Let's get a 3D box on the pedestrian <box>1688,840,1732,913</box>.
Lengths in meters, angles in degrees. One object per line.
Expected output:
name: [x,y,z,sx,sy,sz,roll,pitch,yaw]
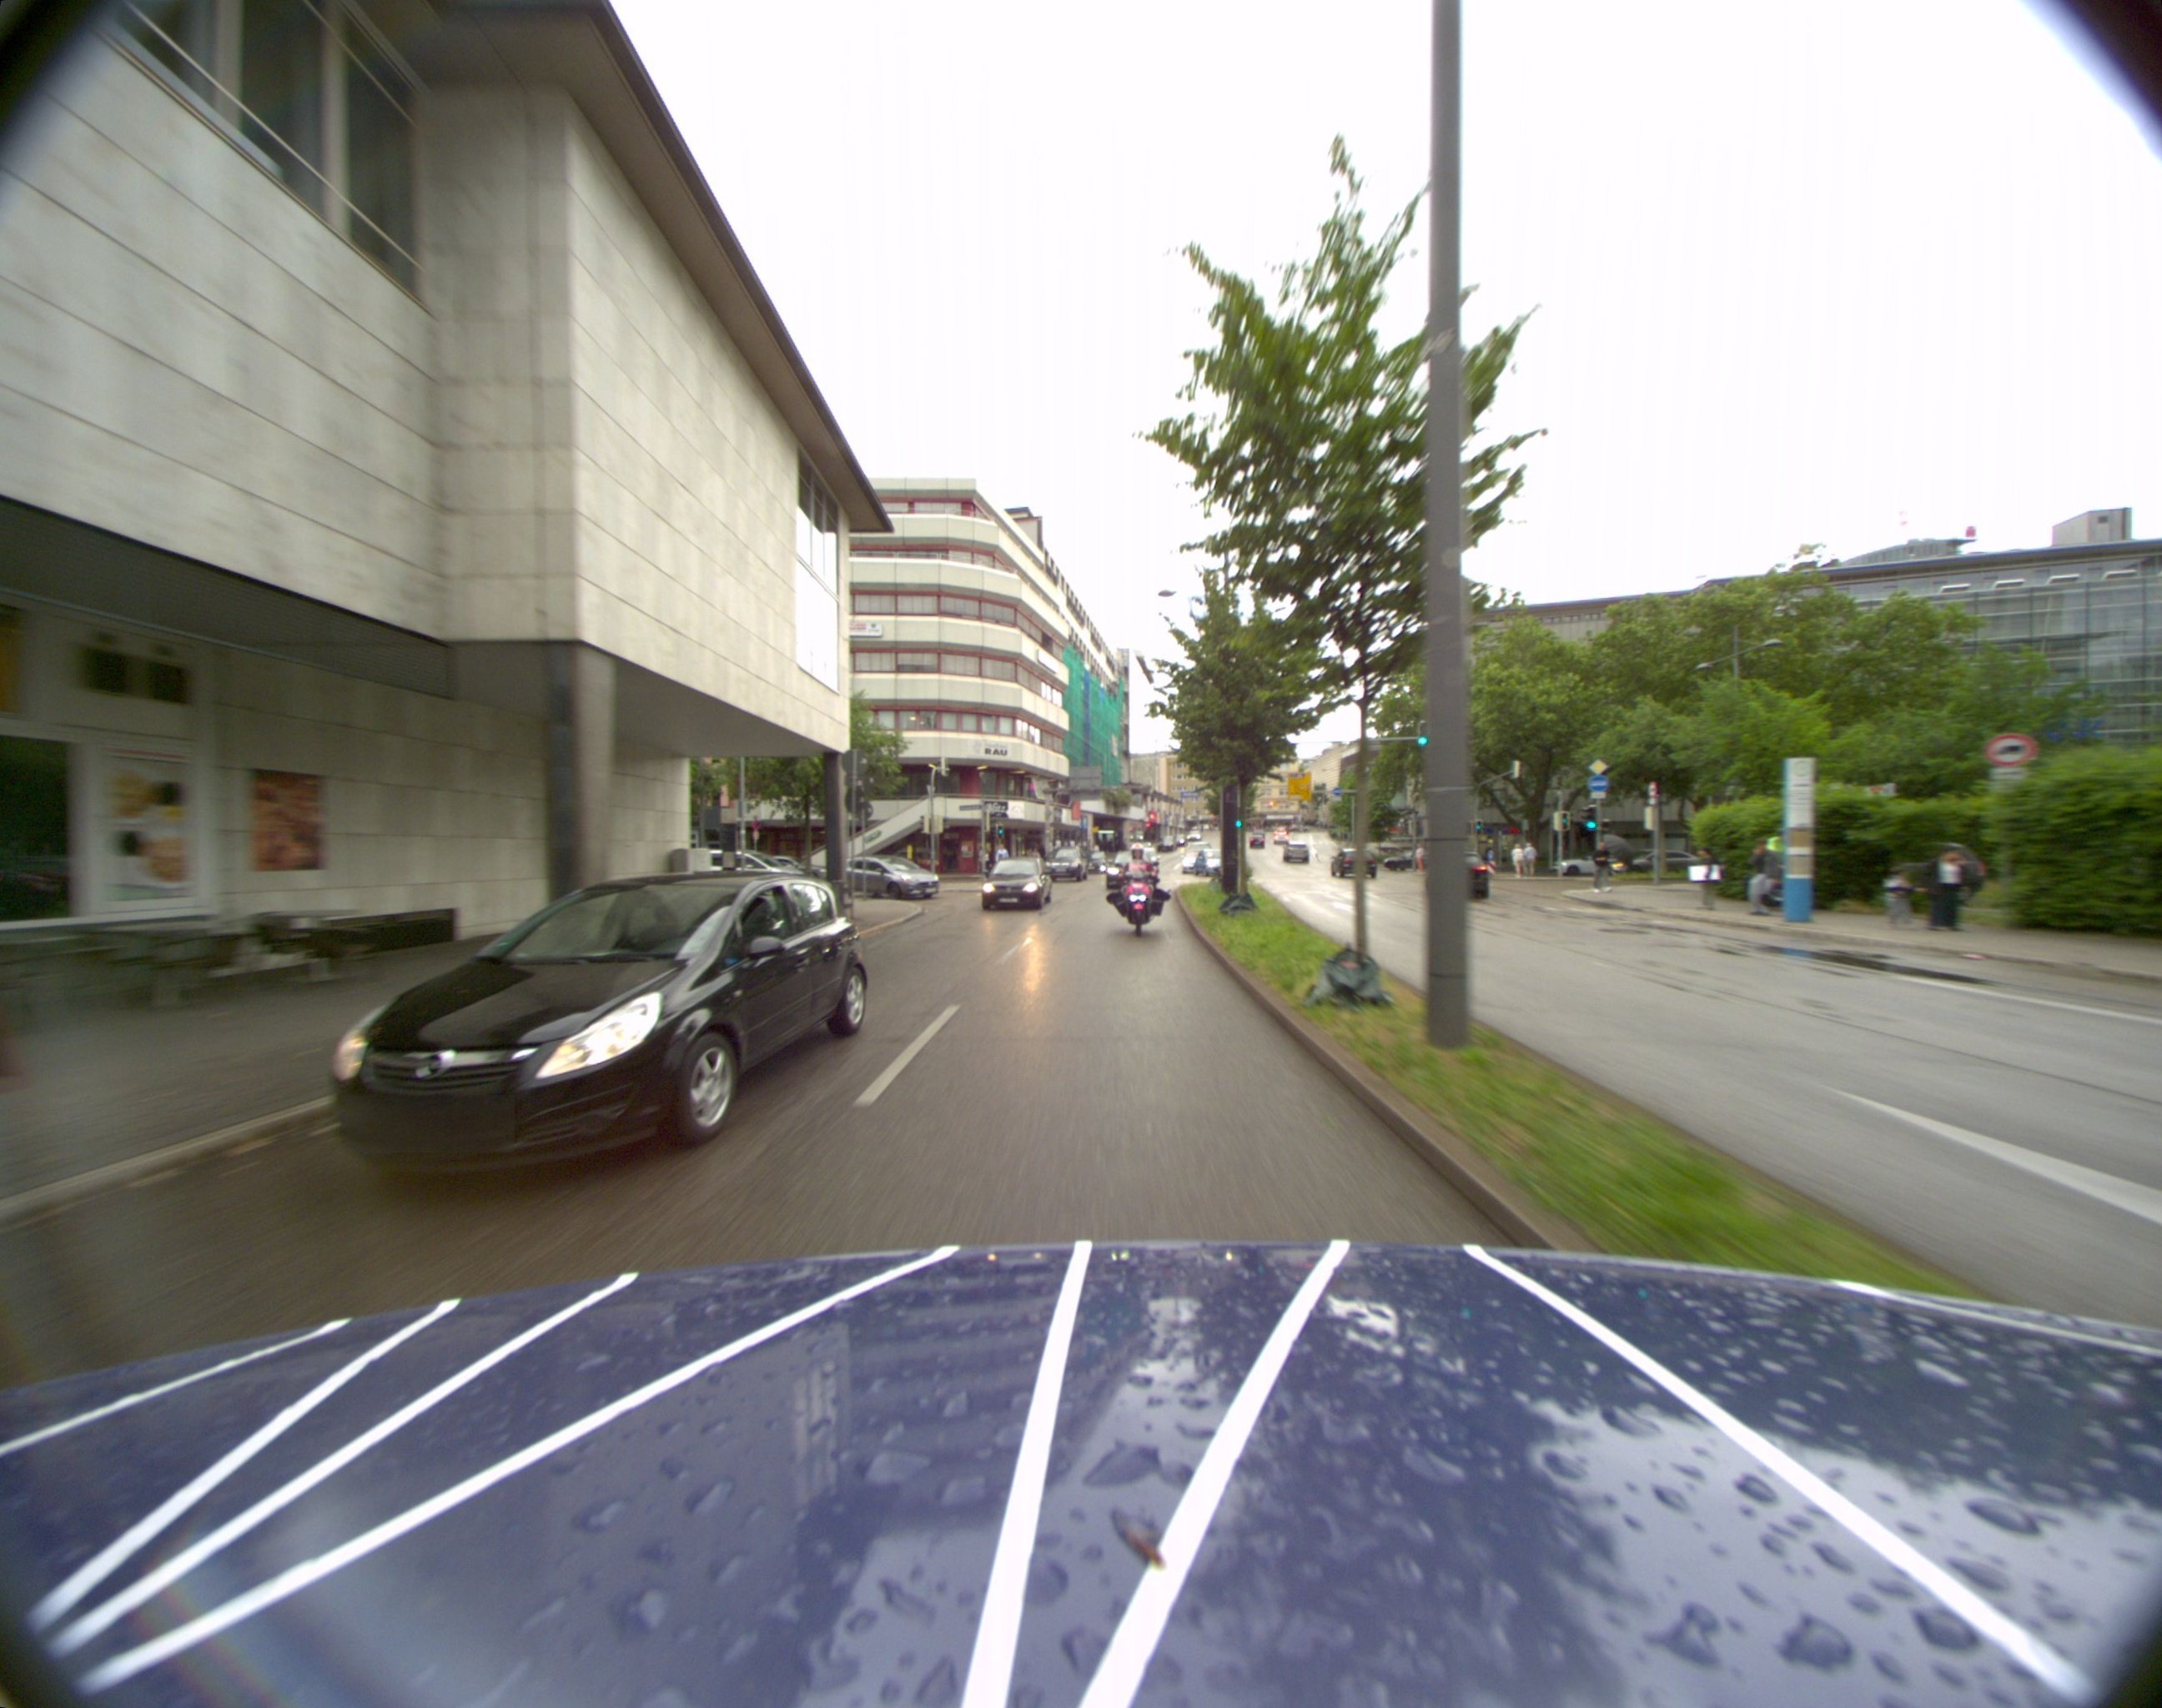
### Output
pedestrian: [15.474,0.543,18.699,0.630,1.754,0.528,0,1,-1]

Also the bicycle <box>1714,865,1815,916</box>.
bicycle: [16.339,0.839,18.240,0.652,1.104,2.058,0,1,3]

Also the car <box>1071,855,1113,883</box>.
car: [0.760,0.912,48.364,1.680,1.422,3.779,-1,3,16]

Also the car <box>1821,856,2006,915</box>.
car: [23.737,0.839,21.867,1.598,1.530,3.602,0,0,6]

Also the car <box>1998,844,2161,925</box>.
car: [22.285,0.603,15.785,1.600,1.615,3.833,0,0,-8]

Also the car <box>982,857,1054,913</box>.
car: [-1.730,0.822,21.890,1.595,1.432,3.628,-1,0,2]

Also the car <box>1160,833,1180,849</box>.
car: [10.286,-1.517,87.637,1.830,1.727,4.001,1,4,13]

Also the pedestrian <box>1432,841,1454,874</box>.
pedestrian: [21.528,0.199,45.173,0.861,1.896,0.826,-2,2,-12]

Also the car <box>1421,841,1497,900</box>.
car: [12.471,0.473,25.309,1.829,1.726,4.265,2,1,21]

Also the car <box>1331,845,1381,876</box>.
car: [14.071,0.275,39.138,1.760,1.412,4.099,2,2,11]

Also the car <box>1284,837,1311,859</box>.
car: [18.135,-0.559,63.752,1.830,1.726,4.313,0,2,11]

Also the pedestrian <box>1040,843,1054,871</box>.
pedestrian: [-2.300,0.211,52.150,0.759,1.891,0.790,0,3,12]

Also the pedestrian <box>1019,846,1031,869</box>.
pedestrian: [-4.138,0.260,56.128,0.575,1.654,0.941,2,2,14]

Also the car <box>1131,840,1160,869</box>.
car: [4.063,0.046,47.265,1.631,1.731,3.602,1,0,7]

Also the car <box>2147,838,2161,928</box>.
car: [18.653,0.511,10.963,1.598,1.502,3.601,0,1,6]

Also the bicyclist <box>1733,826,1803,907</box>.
bicyclist: [16.327,0.286,18.089,0.793,1.879,0.954,0,1,2]

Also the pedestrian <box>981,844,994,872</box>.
pedestrian: [-5.984,0.243,48.686,0.596,1.754,0.493,-1,3,12]

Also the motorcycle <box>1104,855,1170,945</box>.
motorcycle: [1.121,0.791,14.484,0.831,1.479,2.867,-1,1,12]

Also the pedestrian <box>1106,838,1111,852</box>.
pedestrian: [3.171,-1.039,86.867,0.429,1.481,0.523,-1,4,-9]

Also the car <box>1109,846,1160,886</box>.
car: [2.212,0.456,31.276,1.937,1.511,4.470,-1,0,4]

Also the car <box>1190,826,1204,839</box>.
car: [17.365,-3.251,113.884,1.830,1.727,4.001,1,4,13]

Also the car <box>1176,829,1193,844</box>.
car: [13.402,-2.265,98.311,1.830,1.727,4.001,1,4,13]

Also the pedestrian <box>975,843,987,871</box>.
pedestrian: [-6.355,0.173,48.360,0.528,1.754,0.510,-3,4,-31]

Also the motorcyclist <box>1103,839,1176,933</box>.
motorcyclist: [1.153,0.590,14.705,1.295,1.757,0.846,0,1,12]

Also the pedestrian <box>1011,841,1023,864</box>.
pedestrian: [-4.722,-0.100,56.291,0.589,1.696,0.972,2,2,14]

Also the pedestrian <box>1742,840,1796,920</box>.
pedestrian: [15.384,0.559,17.003,0.592,1.754,0.643,-1,1,-5]

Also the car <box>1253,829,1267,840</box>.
car: [25.649,-2.799,109.000,1.716,1.471,3.959,2,3,11]

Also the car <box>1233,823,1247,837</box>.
car: [22.088,-3.376,105.403,1.830,1.727,4.001,1,4,13]

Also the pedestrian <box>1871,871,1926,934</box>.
pedestrian: [15.159,0.894,14.103,0.470,1.144,0.501,0,1,3]

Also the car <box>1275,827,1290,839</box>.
car: [26.154,-2.779,98.722,1.674,1.507,3.645,1,2,12]

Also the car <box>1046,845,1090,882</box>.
car: [-0.590,0.403,37.356,1.735,1.669,4.249,-2,1,4]

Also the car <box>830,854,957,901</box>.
car: [-6.553,0.780,26.481,3.989,1.468,2.003,-1,2,31]

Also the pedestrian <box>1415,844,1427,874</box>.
pedestrian: [21.067,0.286,47.112,0.447,1.827,0.676,0,4,7]

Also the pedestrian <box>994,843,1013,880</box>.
pedestrian: [-3.956,0.381,38.946,0.623,1.837,0.848,0,3,18]

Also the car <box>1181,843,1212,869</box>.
car: [7.243,0.100,47.465,1.768,1.401,4.001,-1,2,9]

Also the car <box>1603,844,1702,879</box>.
car: [28.605,0.372,38.105,3.596,1.686,1.638,0,0,12]

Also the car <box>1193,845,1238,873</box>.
car: [7.392,0.259,42.029,1.700,1.466,3.689,0,1,-2]

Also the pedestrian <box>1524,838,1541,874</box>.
pedestrian: [22.229,0.096,37.421,0.527,1.754,0.593,0,1,10]

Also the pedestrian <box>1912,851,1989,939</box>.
pedestrian: [15.579,0.718,13.622,0.716,1.550,0.565,0,1,3]

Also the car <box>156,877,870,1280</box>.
car: [-2.839,0.985,4.970,1.712,1.448,3.742,-2,1,2]

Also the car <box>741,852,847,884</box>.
car: [-13.441,0.621,35.735,4.270,1.412,1.787,0,1,-1]

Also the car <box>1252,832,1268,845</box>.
car: [20.983,-1.833,89.380,1.625,1.547,3.662,0,1,10]

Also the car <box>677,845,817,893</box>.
car: [-12.894,0.562,29.519,4.604,1.750,1.856,0,2,3]

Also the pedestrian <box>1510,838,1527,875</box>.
pedestrian: [21.600,0.112,37.518,0.527,1.754,0.593,-3,2,10]

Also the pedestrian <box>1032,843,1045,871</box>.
pedestrian: [-2.949,0.186,52.737,0.733,1.885,0.677,0,3,11]

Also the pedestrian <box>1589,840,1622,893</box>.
pedestrian: [17.621,0.418,25.541,0.648,1.755,0.592,0,4,7]

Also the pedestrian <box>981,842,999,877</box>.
pedestrian: [-4.682,0.286,38.984,0.623,1.764,0.678,0,4,18]

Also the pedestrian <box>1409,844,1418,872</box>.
pedestrian: [21.133,0.248,48.290,0.412,1.753,0.677,0,0,10]

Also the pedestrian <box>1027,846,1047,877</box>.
pedestrian: [-2.613,0.434,45.593,0.897,1.770,0.806,5,5,15]
